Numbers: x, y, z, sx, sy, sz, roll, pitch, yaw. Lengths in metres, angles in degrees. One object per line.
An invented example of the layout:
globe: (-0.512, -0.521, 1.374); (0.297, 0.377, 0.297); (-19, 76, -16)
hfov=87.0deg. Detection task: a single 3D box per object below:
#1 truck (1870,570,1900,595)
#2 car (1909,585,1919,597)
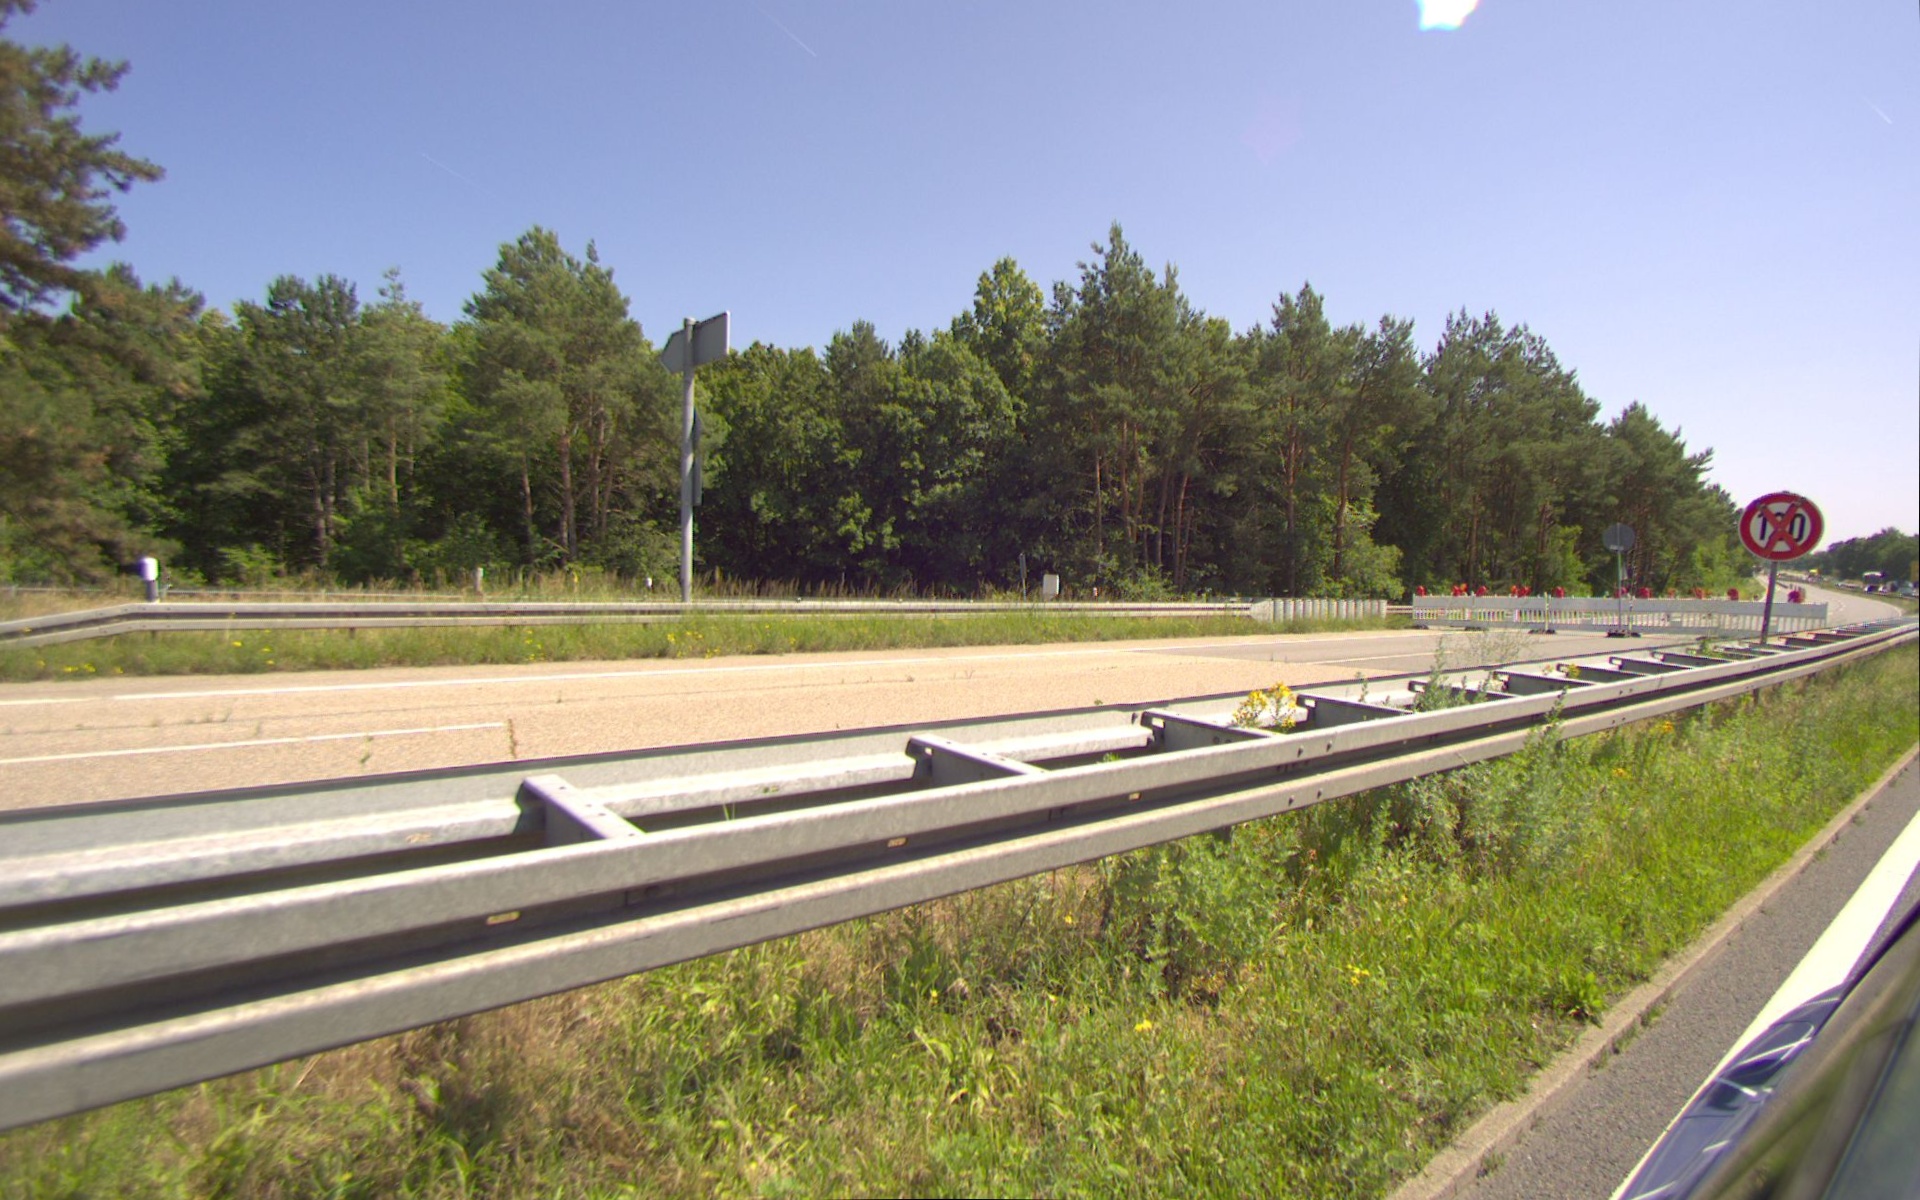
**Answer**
truck: (169.432, -3.162, 185.308); (3.820, 4.344, 11.069); (1, 1, 44)
car: (137.134, -1.322, 144.951); (1.521, 1.677, 3.922); (1, 1, 40)
